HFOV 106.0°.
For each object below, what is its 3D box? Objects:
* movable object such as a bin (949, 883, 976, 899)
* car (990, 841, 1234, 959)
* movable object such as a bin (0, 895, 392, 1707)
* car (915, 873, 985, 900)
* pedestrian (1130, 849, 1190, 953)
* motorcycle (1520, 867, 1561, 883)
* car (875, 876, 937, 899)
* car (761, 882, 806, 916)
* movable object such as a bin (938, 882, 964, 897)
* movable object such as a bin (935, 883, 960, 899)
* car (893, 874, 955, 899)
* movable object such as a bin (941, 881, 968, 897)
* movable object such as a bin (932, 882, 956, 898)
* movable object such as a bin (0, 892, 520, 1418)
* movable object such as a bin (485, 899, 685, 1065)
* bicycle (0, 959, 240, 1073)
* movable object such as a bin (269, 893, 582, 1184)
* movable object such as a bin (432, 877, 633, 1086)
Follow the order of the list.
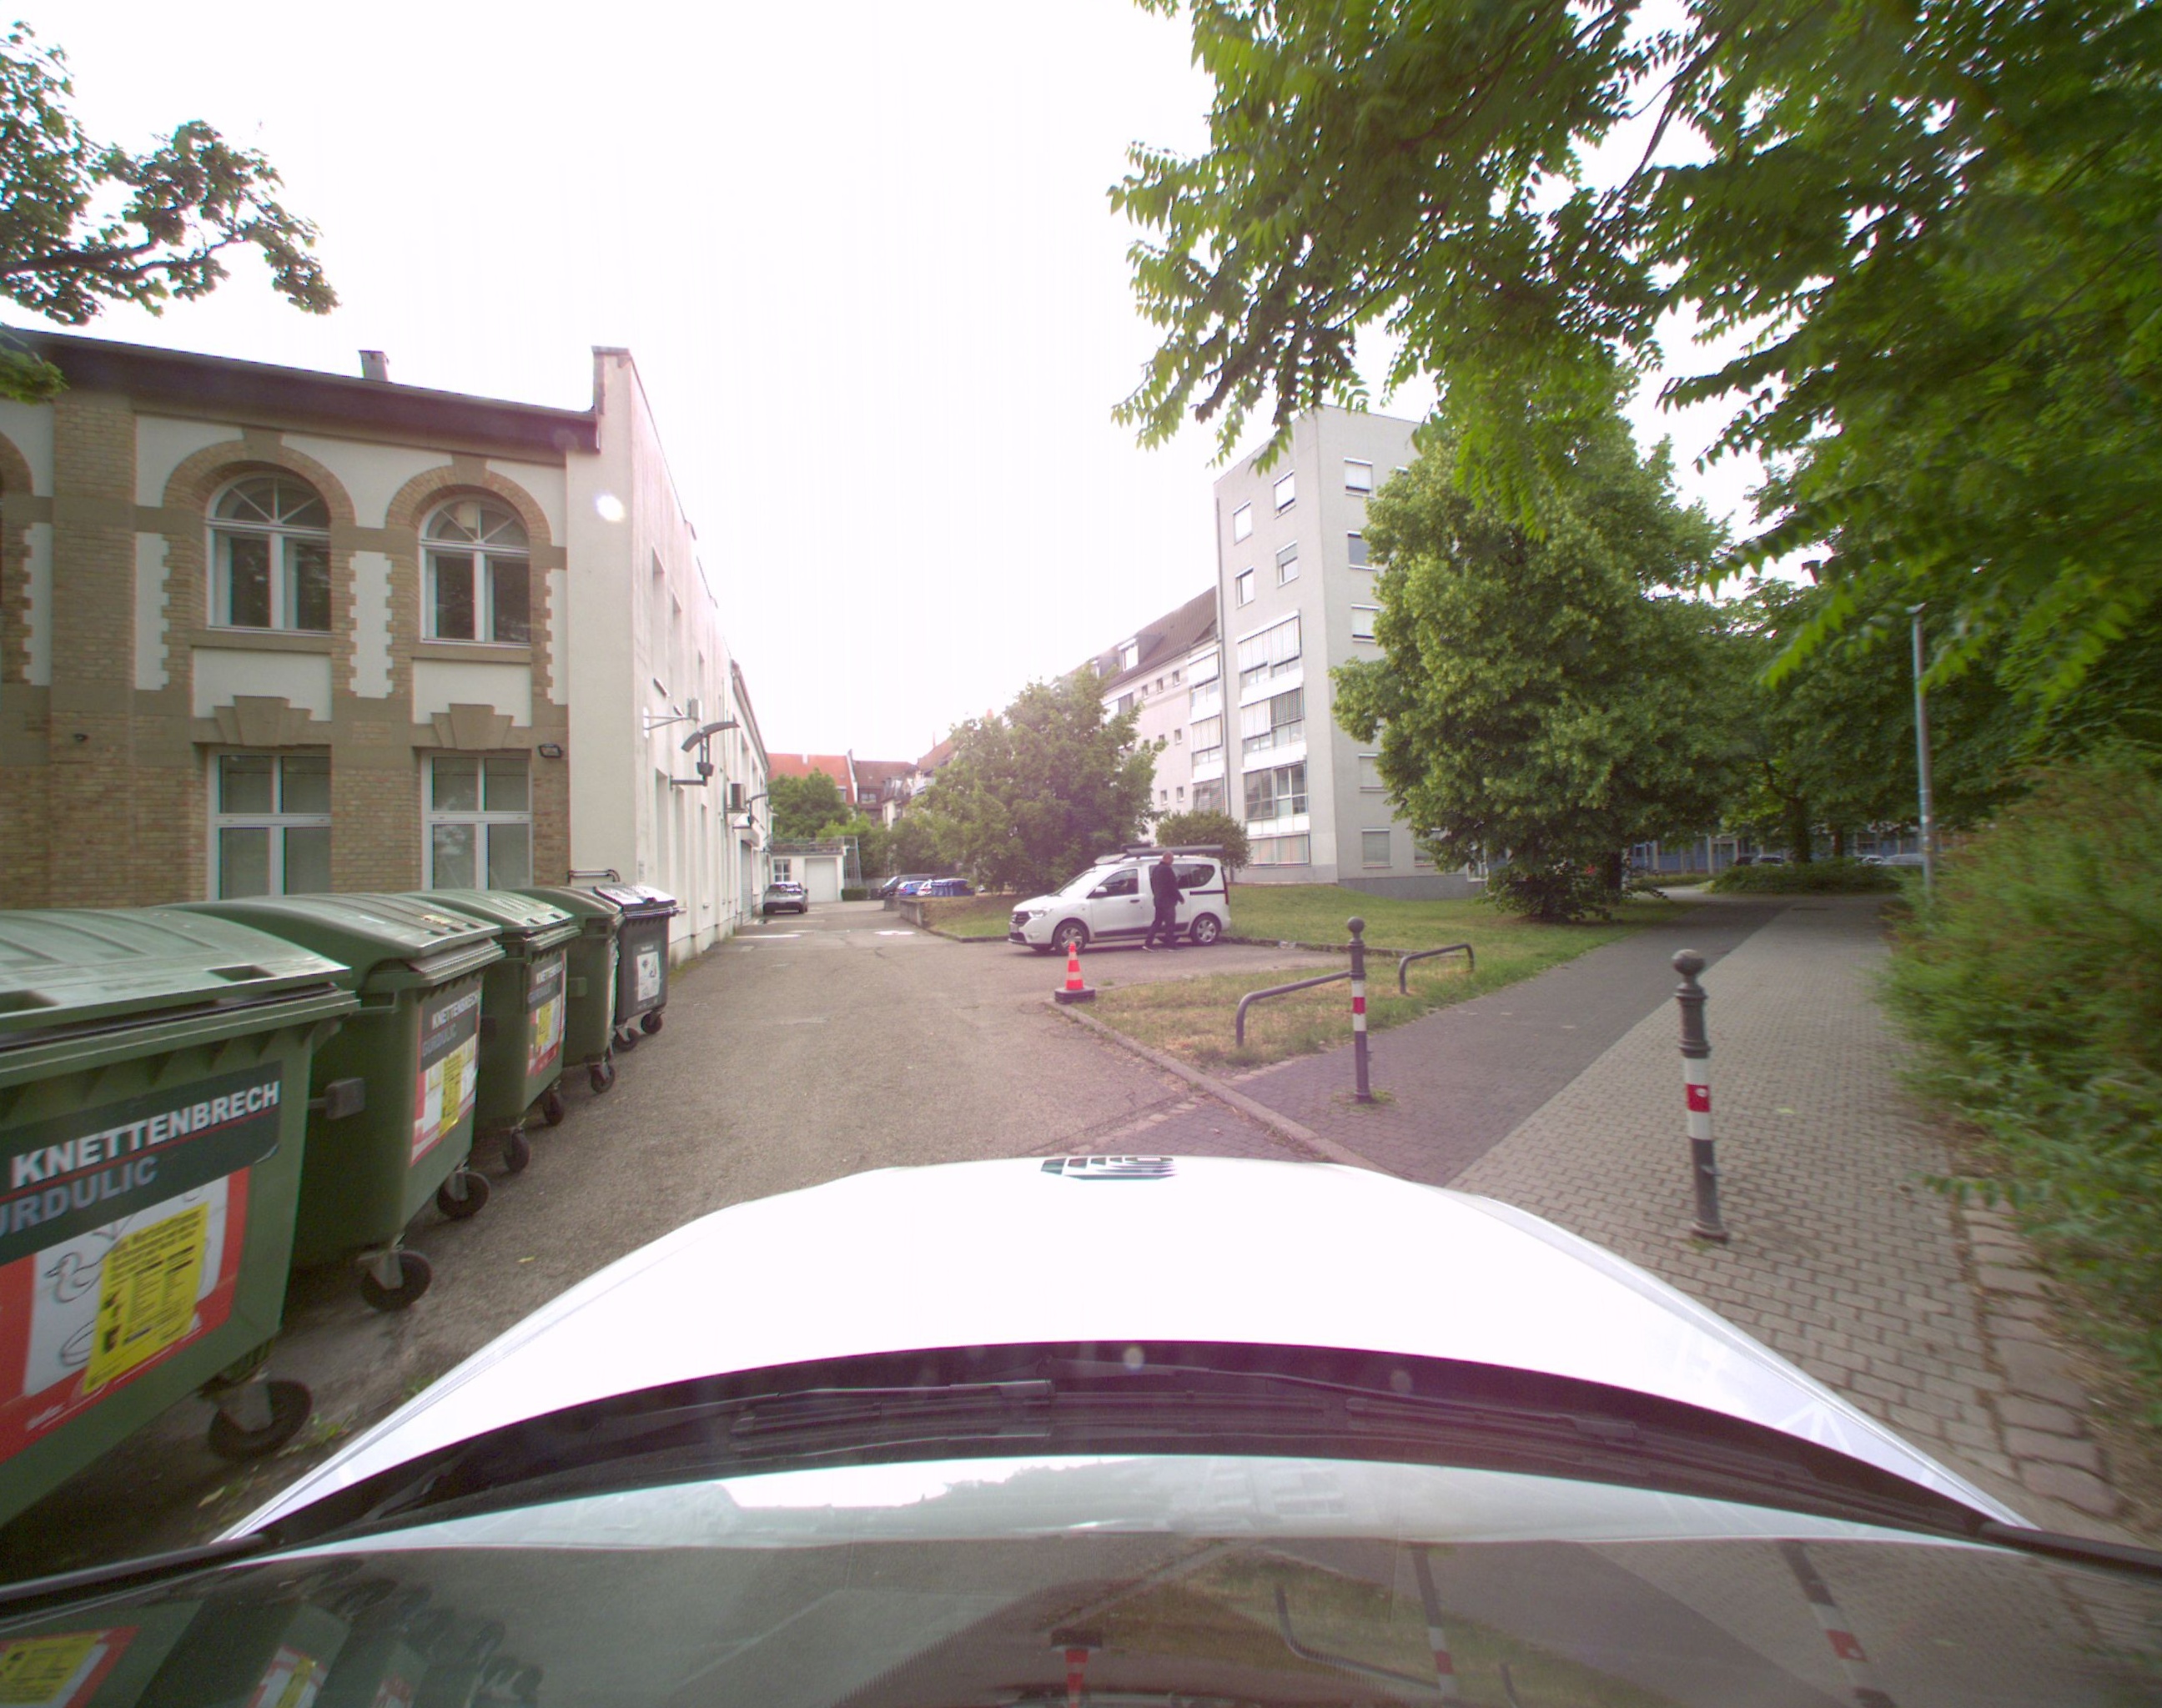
[{"bbox_3d":[-4.844,1.508,33.237,0.967,0.637,0.905,-1,-3,-18],"label":"movable object such as a bin"},{"bbox_3d":[0.612,0.836,15.931,4.357,2.014,1.839,-1,-3,-24],"label":"car"},{"bbox_3d":[-2.495,0.832,1.736,1.054,1.450,1.348,-1,-3,-14],"label":"movable object such as a bin"},{"bbox_3d":[-8.514,2.100,53.009,4.012,1.574,1.981,-1,-1,-30],"label":"car"},{"bbox_3d":[1.417,0.844,14.711,0.757,1.809,0.692,-1,-3,-24],"label":"pedestrian"},{"bbox_3d":[28.324,1.313,50.168,3.207,0.881,0.952,-1,-2,-37],"label":"motorcycle"},{"bbox_3d":[-13.416,2.579,62.446,4.208,1.574,1.981,-1,-1,-30],"label":"car"},{"bbox_3d":[-14.178,2.145,38.989,1.853,1.508,3.974,-1,-3,-18],"label":"car"},{"bbox_3d":[-5.676,1.555,35.509,0.967,0.637,0.905,-1,-3,-18],"label":"movable object such as a bin"},{"bbox_3d":[-5.973,1.643,36.382,0.967,0.679,0.806,-1,-3,-18],"label":"movable object such as a bin"},{"bbox_3d":[-11.043,2.271,57.303,4.012,1.574,1.570,-1,-1,-30],"label":"car"},{"bbox_3d":[-5.377,1.472,34.536,0.967,0.637,0.905,-1,-3,-18],"label":"movable object such as a bin"},{"bbox_3d":[-6.281,1.663,37.215,0.967,0.679,0.865,-1,-3,-18],"label":"movable object such as a bin"},{"bbox_3d":[-2.945,0.894,3.149,1.057,1.456,1.342,-1,-2,-25],"label":"movable object such as a bin"},{"bbox_3d":[-4.419,1.085,7.401,1.051,1.265,1.350,-2,-1,-7],"label":"movable object such as a bin"},{"bbox_3d":[-9.800,1.596,8.386,0.617,0.813,1.935,-2,-1,-13],"label":"bicycle"},{"bbox_3d":[-3.529,0.887,4.580,1.057,1.265,1.342,-1,-1,-25],"label":"movable object such as a bin"},{"bbox_3d":[-3.902,0.825,5.943,1.058,1.265,1.341,-1,-1,-28],"label":"movable object such as a bin"}]
